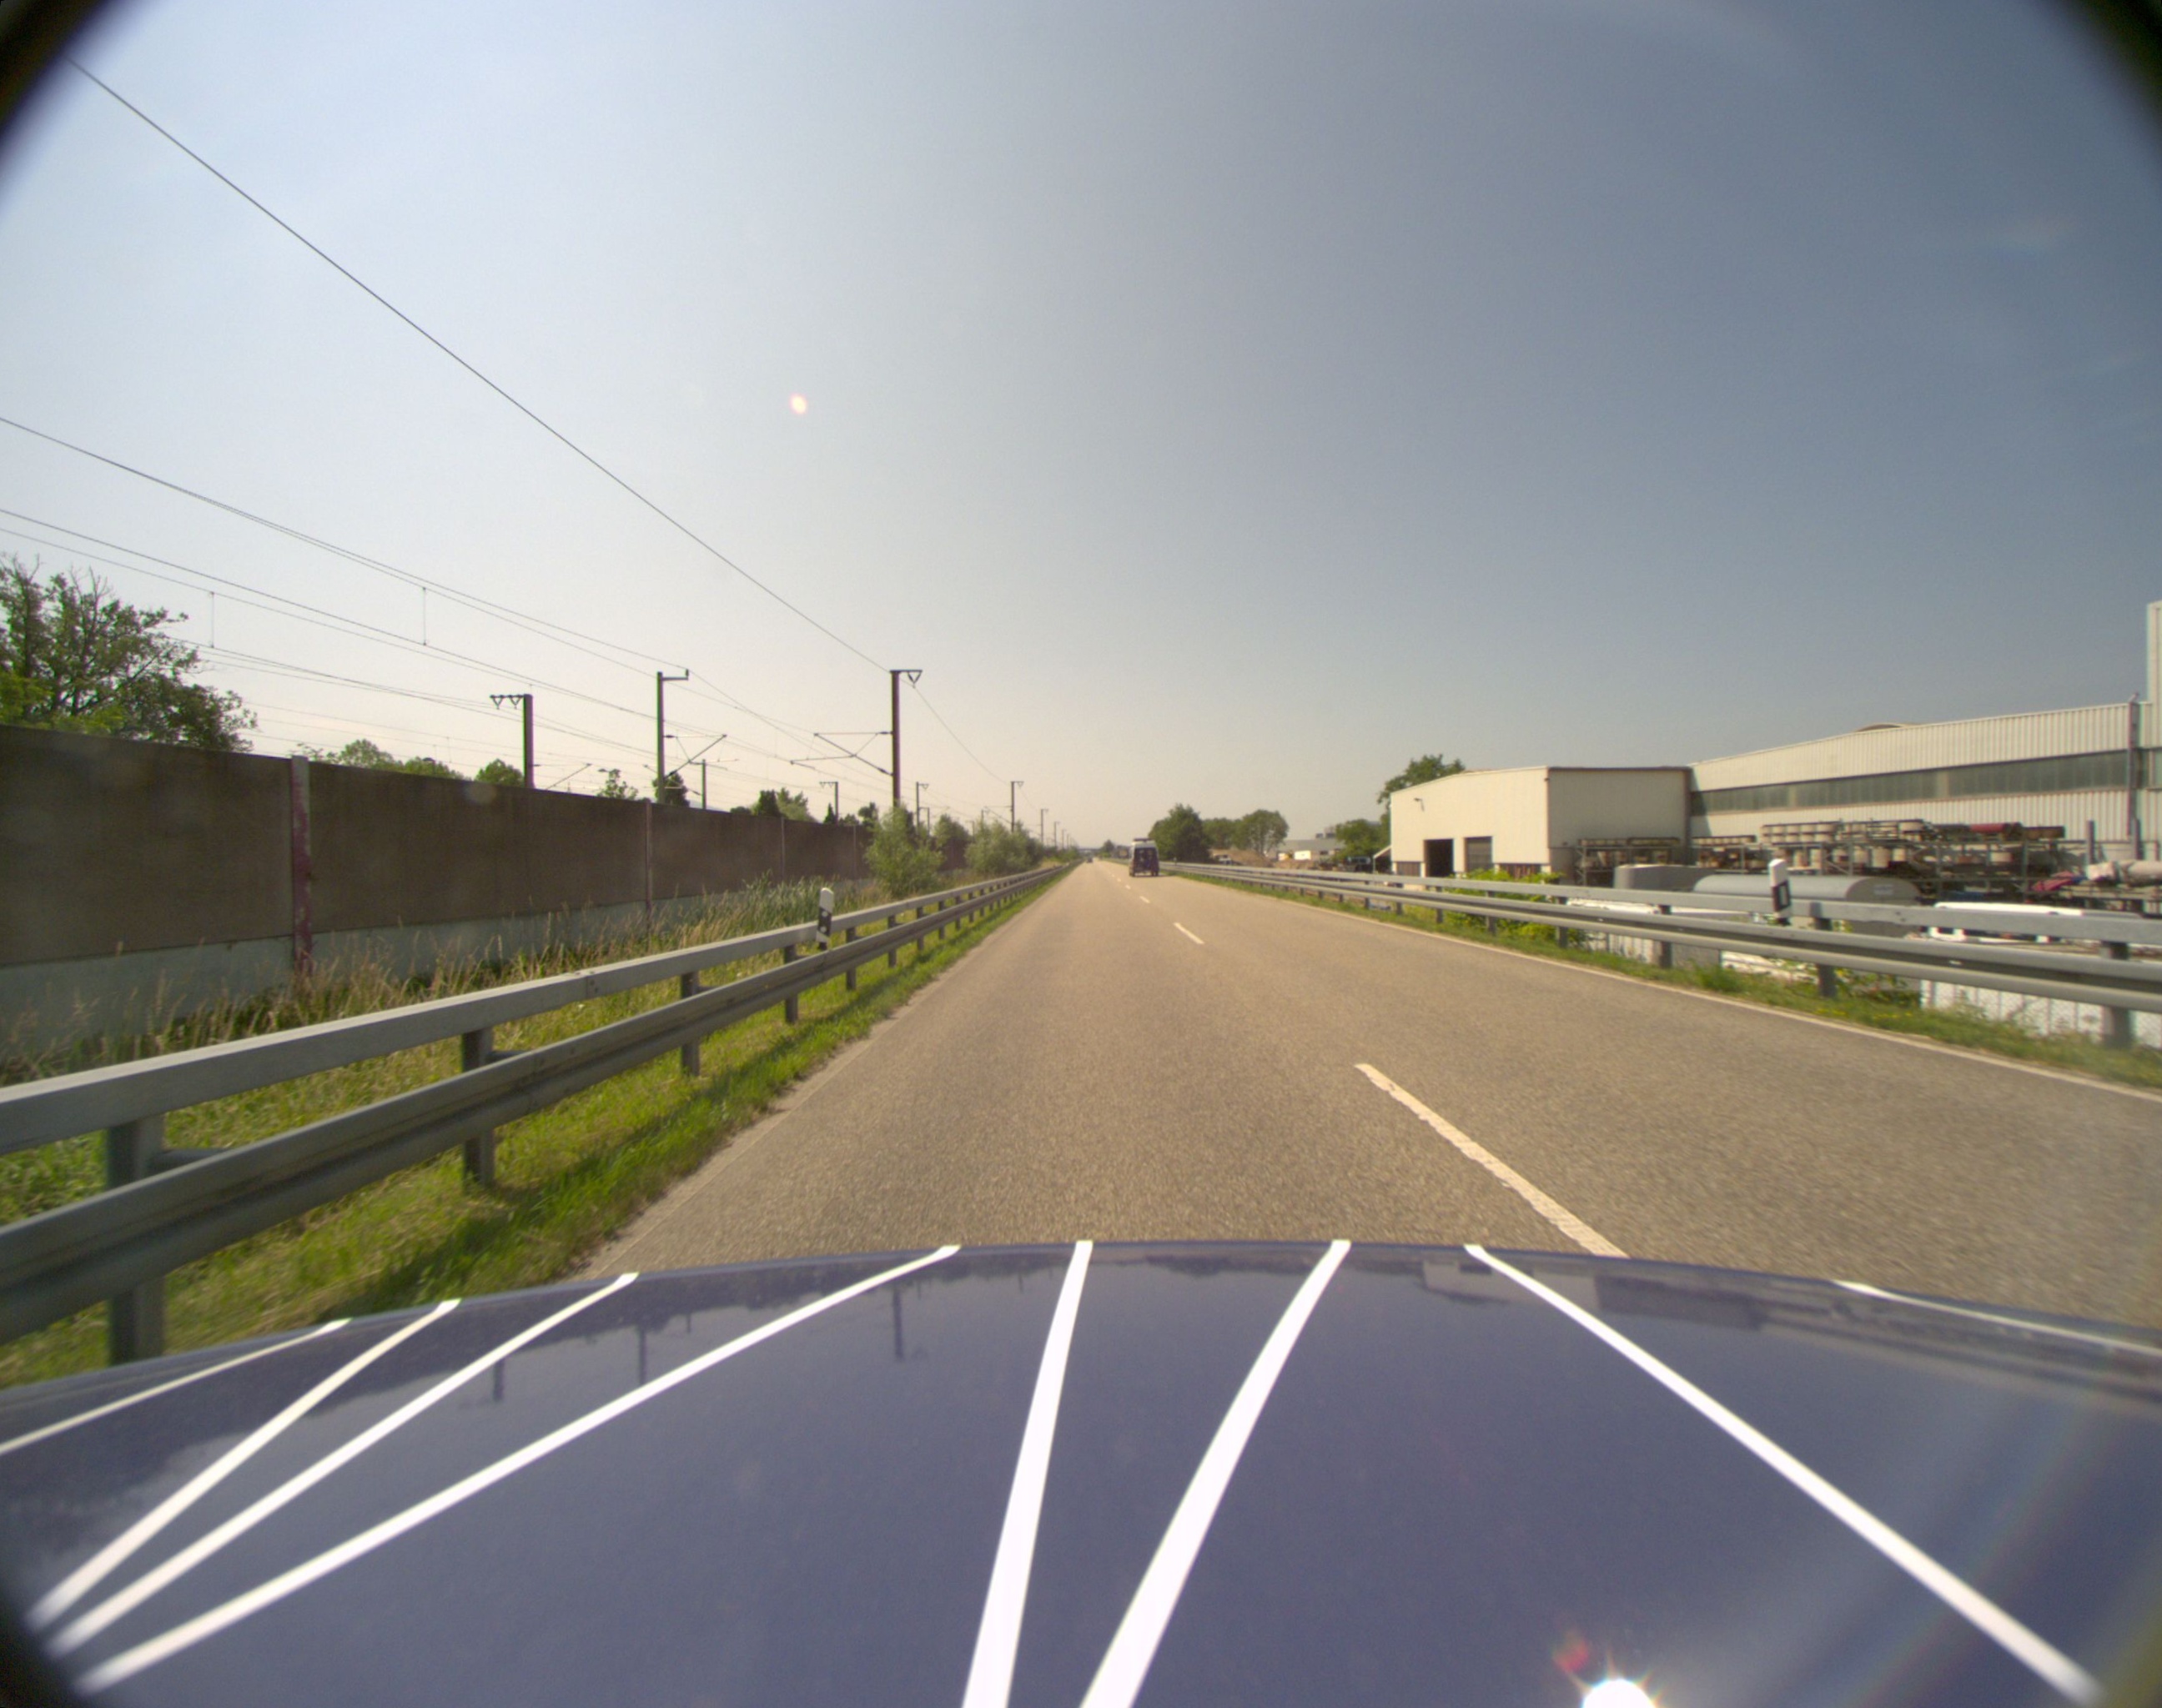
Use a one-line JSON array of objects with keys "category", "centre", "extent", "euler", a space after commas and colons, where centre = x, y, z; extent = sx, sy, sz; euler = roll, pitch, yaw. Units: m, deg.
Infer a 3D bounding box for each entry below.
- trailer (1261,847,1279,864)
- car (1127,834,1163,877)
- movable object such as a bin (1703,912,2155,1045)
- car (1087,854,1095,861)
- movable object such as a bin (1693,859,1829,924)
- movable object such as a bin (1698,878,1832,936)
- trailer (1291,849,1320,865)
[{"category": "trailer", "centre": [51.607, 0.437, 207.775], "extent": [2.862, 4.193, 7.539], "euler": [-2, -1, -2]}, {"category": "car", "centre": [4.749, 0.092, 57.352], "extent": [2.084, 2.945, 6.729], "euler": [-3, 0, 1]}, {"category": "movable object such as a bin", "centre": [15.301, 2.201, 13.972], "extent": [5.912, 2.007, 2.449], "euler": [1, 0, -5]}, {"category": "car", "centre": [2.668, 0.981, 208.062], "extent": [1.999, 2.002, 4.000], "euler": [-2, 0, -1]}, {"category": "movable object such as a bin", "centre": [31.695, 1.713, 35.491], "extent": [4.557, 2.665, 2.132], "euler": [3, 0, -7]}, {"category": "movable object such as a bin", "centre": [27.407, 2.097, 30.497], "extent": [3.874, 2.002, 1.851], "euler": [-3, 1, -6]}, {"category": "trailer", "centre": [62.739, 0.929, 212.783], "extent": [2.704, 4.235, 15.582], "euler": [-1, -1, -3]}]
